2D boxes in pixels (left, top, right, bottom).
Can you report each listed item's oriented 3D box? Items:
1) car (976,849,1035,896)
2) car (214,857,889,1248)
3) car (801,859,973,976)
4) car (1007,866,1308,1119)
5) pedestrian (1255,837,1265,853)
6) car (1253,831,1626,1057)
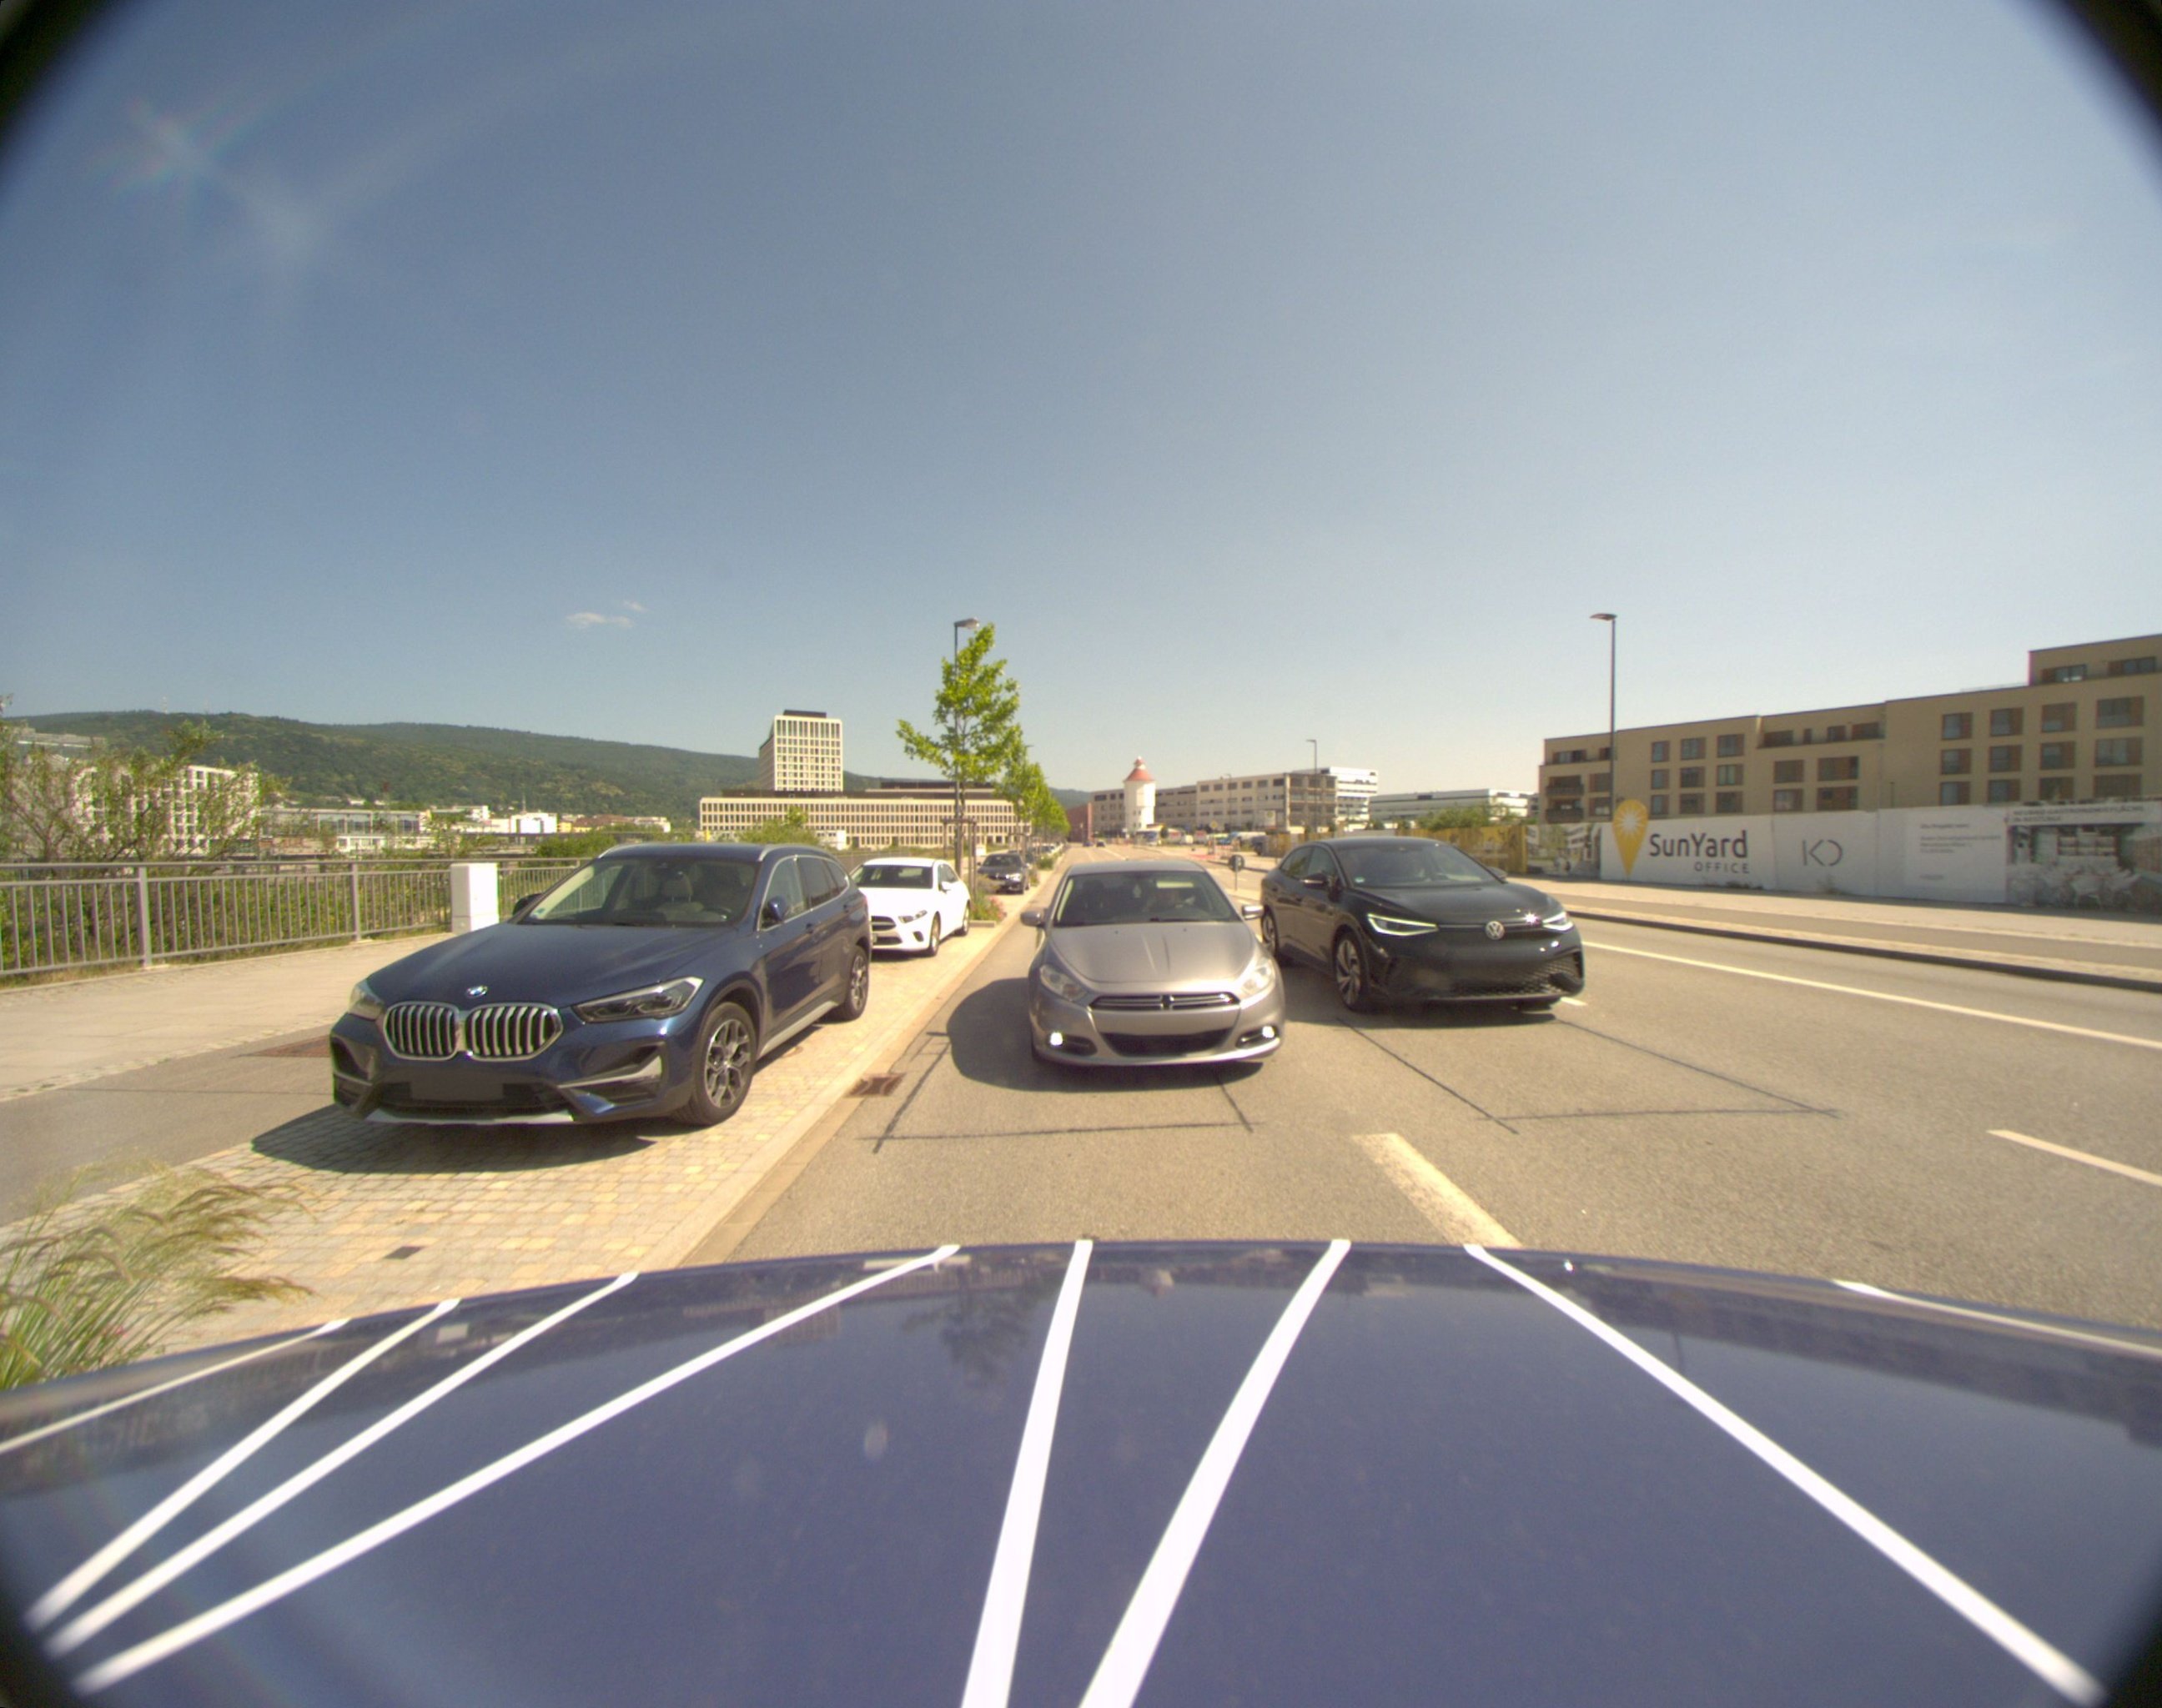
[{"bbox_3d":[-2.724,0.623,28.054,1.664,1.529,3.999,-2,1,1],"label":"car"},{"bbox_3d":[-2.866,0.892,5.467,1.769,1.598,4.238,-2,1,1],"label":"car"},{"bbox_3d":[-2.913,0.880,12.306,1.664,1.447,3.999,-2,1,1],"label":"car"},{"bbox_3d":[0.495,0.879,6.690,1.784,1.372,4.135,-2,1,1],"label":"car"},{"bbox_3d":[18.276,-0.955,77.653,0.705,1.577,0.617,-3,1,-36],"label":"pedestrian"},{"bbox_3d":[3.185,0.652,7.876,1.806,1.632,4.365,-2,1,1],"label":"car"}]
